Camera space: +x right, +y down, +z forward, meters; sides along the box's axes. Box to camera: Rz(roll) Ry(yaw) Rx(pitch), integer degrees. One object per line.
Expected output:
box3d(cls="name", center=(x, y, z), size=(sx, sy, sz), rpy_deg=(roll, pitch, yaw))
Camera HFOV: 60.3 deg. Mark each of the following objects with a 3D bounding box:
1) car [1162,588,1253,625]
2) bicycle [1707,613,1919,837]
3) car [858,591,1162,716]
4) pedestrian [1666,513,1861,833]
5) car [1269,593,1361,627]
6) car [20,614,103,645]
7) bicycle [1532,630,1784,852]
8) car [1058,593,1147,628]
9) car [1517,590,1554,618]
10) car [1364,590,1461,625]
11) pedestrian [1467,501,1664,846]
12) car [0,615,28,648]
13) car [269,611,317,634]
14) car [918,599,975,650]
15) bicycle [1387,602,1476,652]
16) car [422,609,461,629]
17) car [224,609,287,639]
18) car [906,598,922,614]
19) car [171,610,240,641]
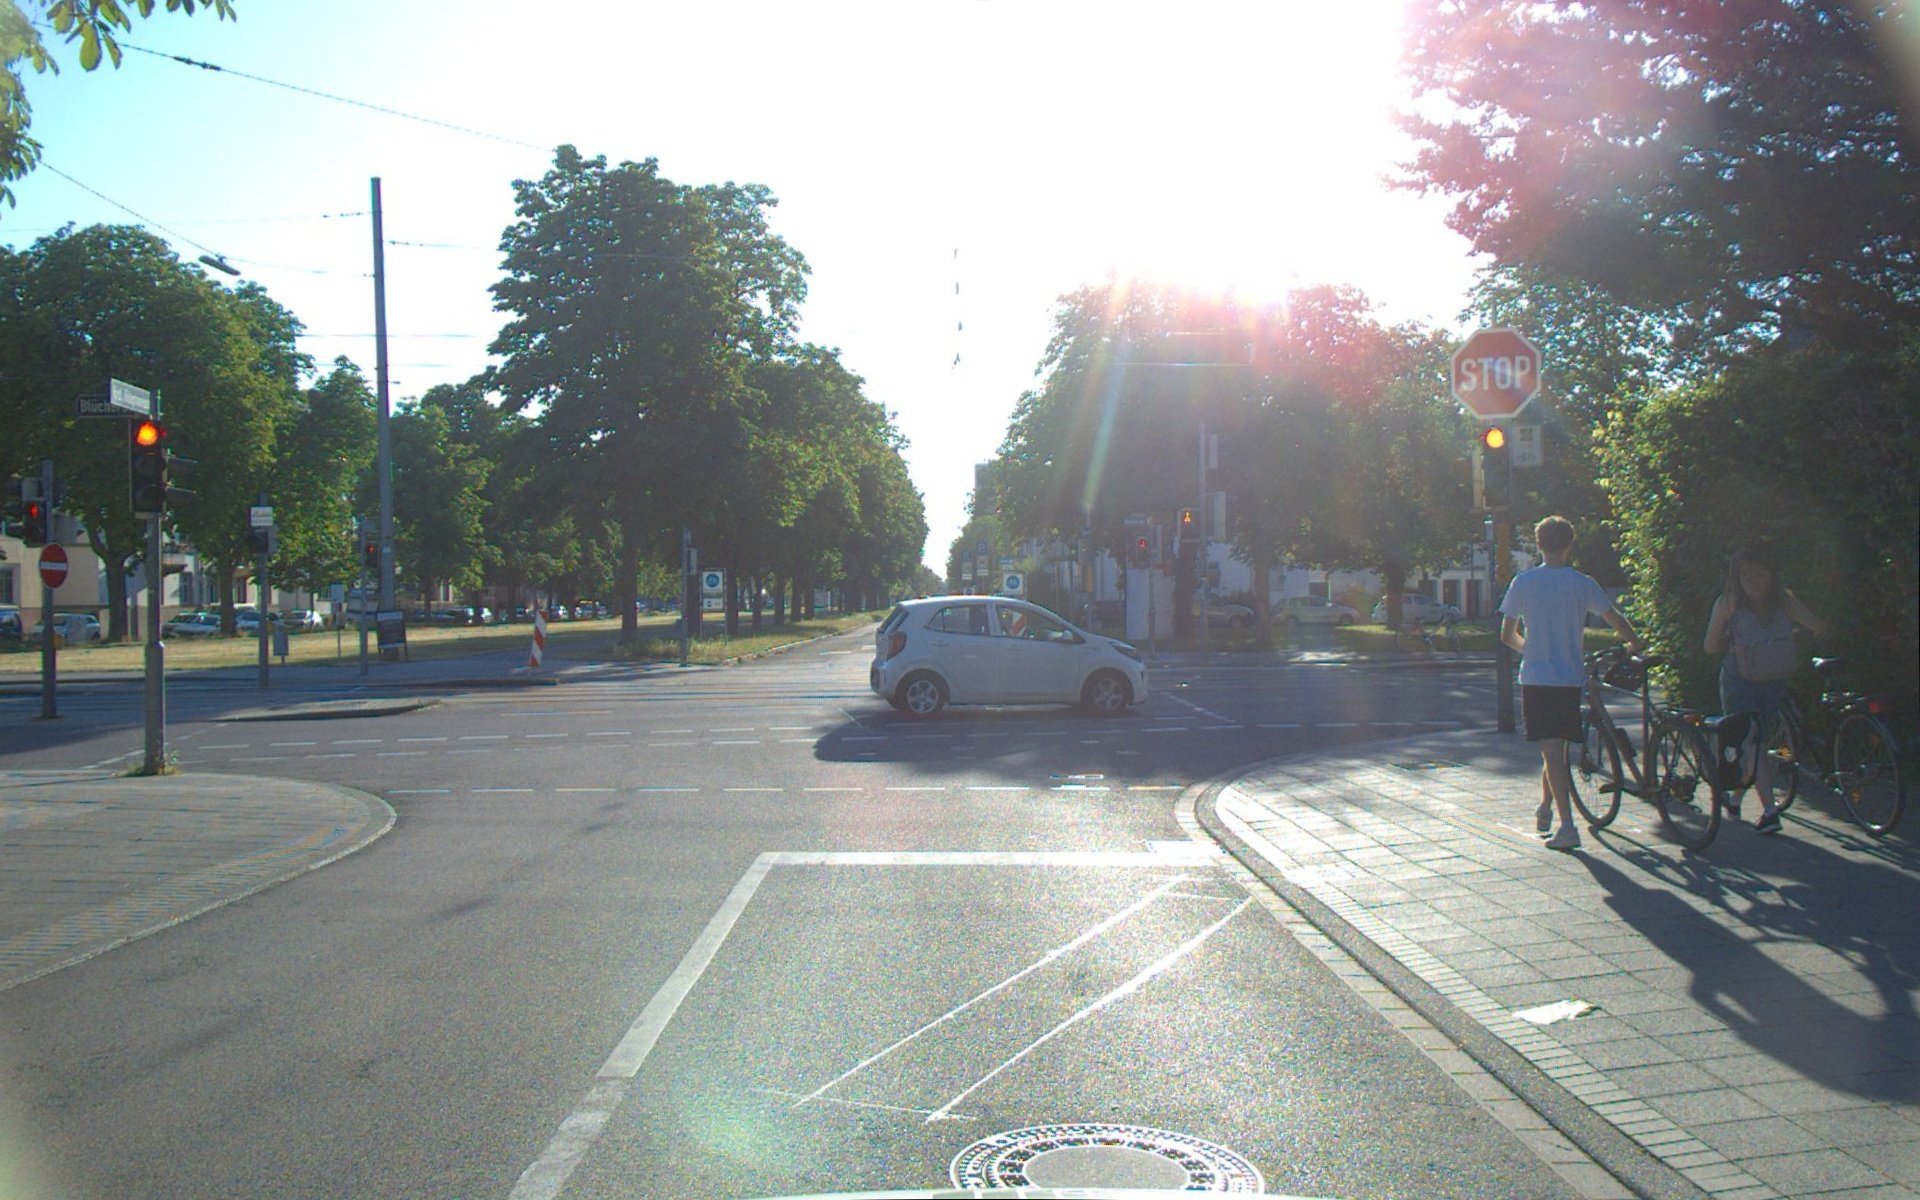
box3d(cls="car", center=(10.722, 0.280, 71.815), size=(3.703, 1.552, 1.744), rpy_deg=(0, 1, -1))
box3d(cls="bicycle", center=(5.055, 0.673, 9.639), size=(0.477, 1.162, 1.596), rpy_deg=(-3, 0, -6))
box3d(cls="car", center=(0.603, 0.644, 21.242), size=(3.621, 1.514, 1.736), rpy_deg=(0, 0, -12))
box3d(cls="pedestrian", center=(4.661, 0.408, 9.626), size=(0.656, 1.737, 0.622), rpy_deg=(-5, 0, -7))
box3d(cls="car", center=(15.361, 0.435, 71.679), size=(3.591, 1.452, 1.530), rpy_deg=(-1, 0, -5))
box3d(cls="car", center=(-43.151, 1.406, 79.523), size=(1.701, 1.452, 3.795), rpy_deg=(0, 0, 5))
box3d(cls="bicycle", center=(4.005, 0.760, 9.644), size=(0.478, 1.116, 1.788), rpy_deg=(-3, 0, -7))
box3d(cls="car", center=(6.138, 0.455, 71.561), size=(3.703, 1.452, 1.744), rpy_deg=(0, 1, -1))
box3d(cls="car", center=(31.417, 0.216, 90.247), size=(1.630, 1.442, 3.541), rpy_deg=(-1, 0, 23))
box3d(cls="car", center=(19.790, 0.324, 72.379), size=(3.770, 1.452, 1.596), rpy_deg=(-1, 0, -5))
box3d(cls="pedestrian", center=(3.551, 0.410, 9.769), size=(0.657, 1.897, 0.880), rpy_deg=(-4, 0, -6))
box3d(cls="car", center=(-43.202, 1.417, 73.053), size=(1.701, 1.422, 3.795), rpy_deg=(-1, 0, 5))
box3d(cls="car", center=(-44.187, 1.463, 109.643), size=(1.702, 1.452, 3.792), rpy_deg=(0, 0, 0))
box3d(cls="car", center=(-0.395, 0.726, 50.549), size=(1.607, 1.476, 3.308), rpy_deg=(0, 0, 2))
box3d(cls="bicycle", center=(11.201, 0.631, 39.325), size=(1.913, 1.152, 0.620), rpy_deg=(-1, 0, 2))
box3d(cls="car", center=(-38.671, 1.391, 123.396), size=(1.702, 1.452, 3.792), rpy_deg=(0, 0, 0))
box3d(cls="car", center=(-37.741, 1.282, 88.674), size=(1.702, 1.452, 3.793), rpy_deg=(0, 1, 0))
box3d(cls="car", center=(-6.207, 0.795, 225.122), size=(2.090, 2.049, 3.901), rpy_deg=(0, 0, 0))
box3d(cls="car", center=(-37.593, 1.274, 82.464), size=(1.702, 1.452, 3.792), rpy_deg=(0, 0, 0))
